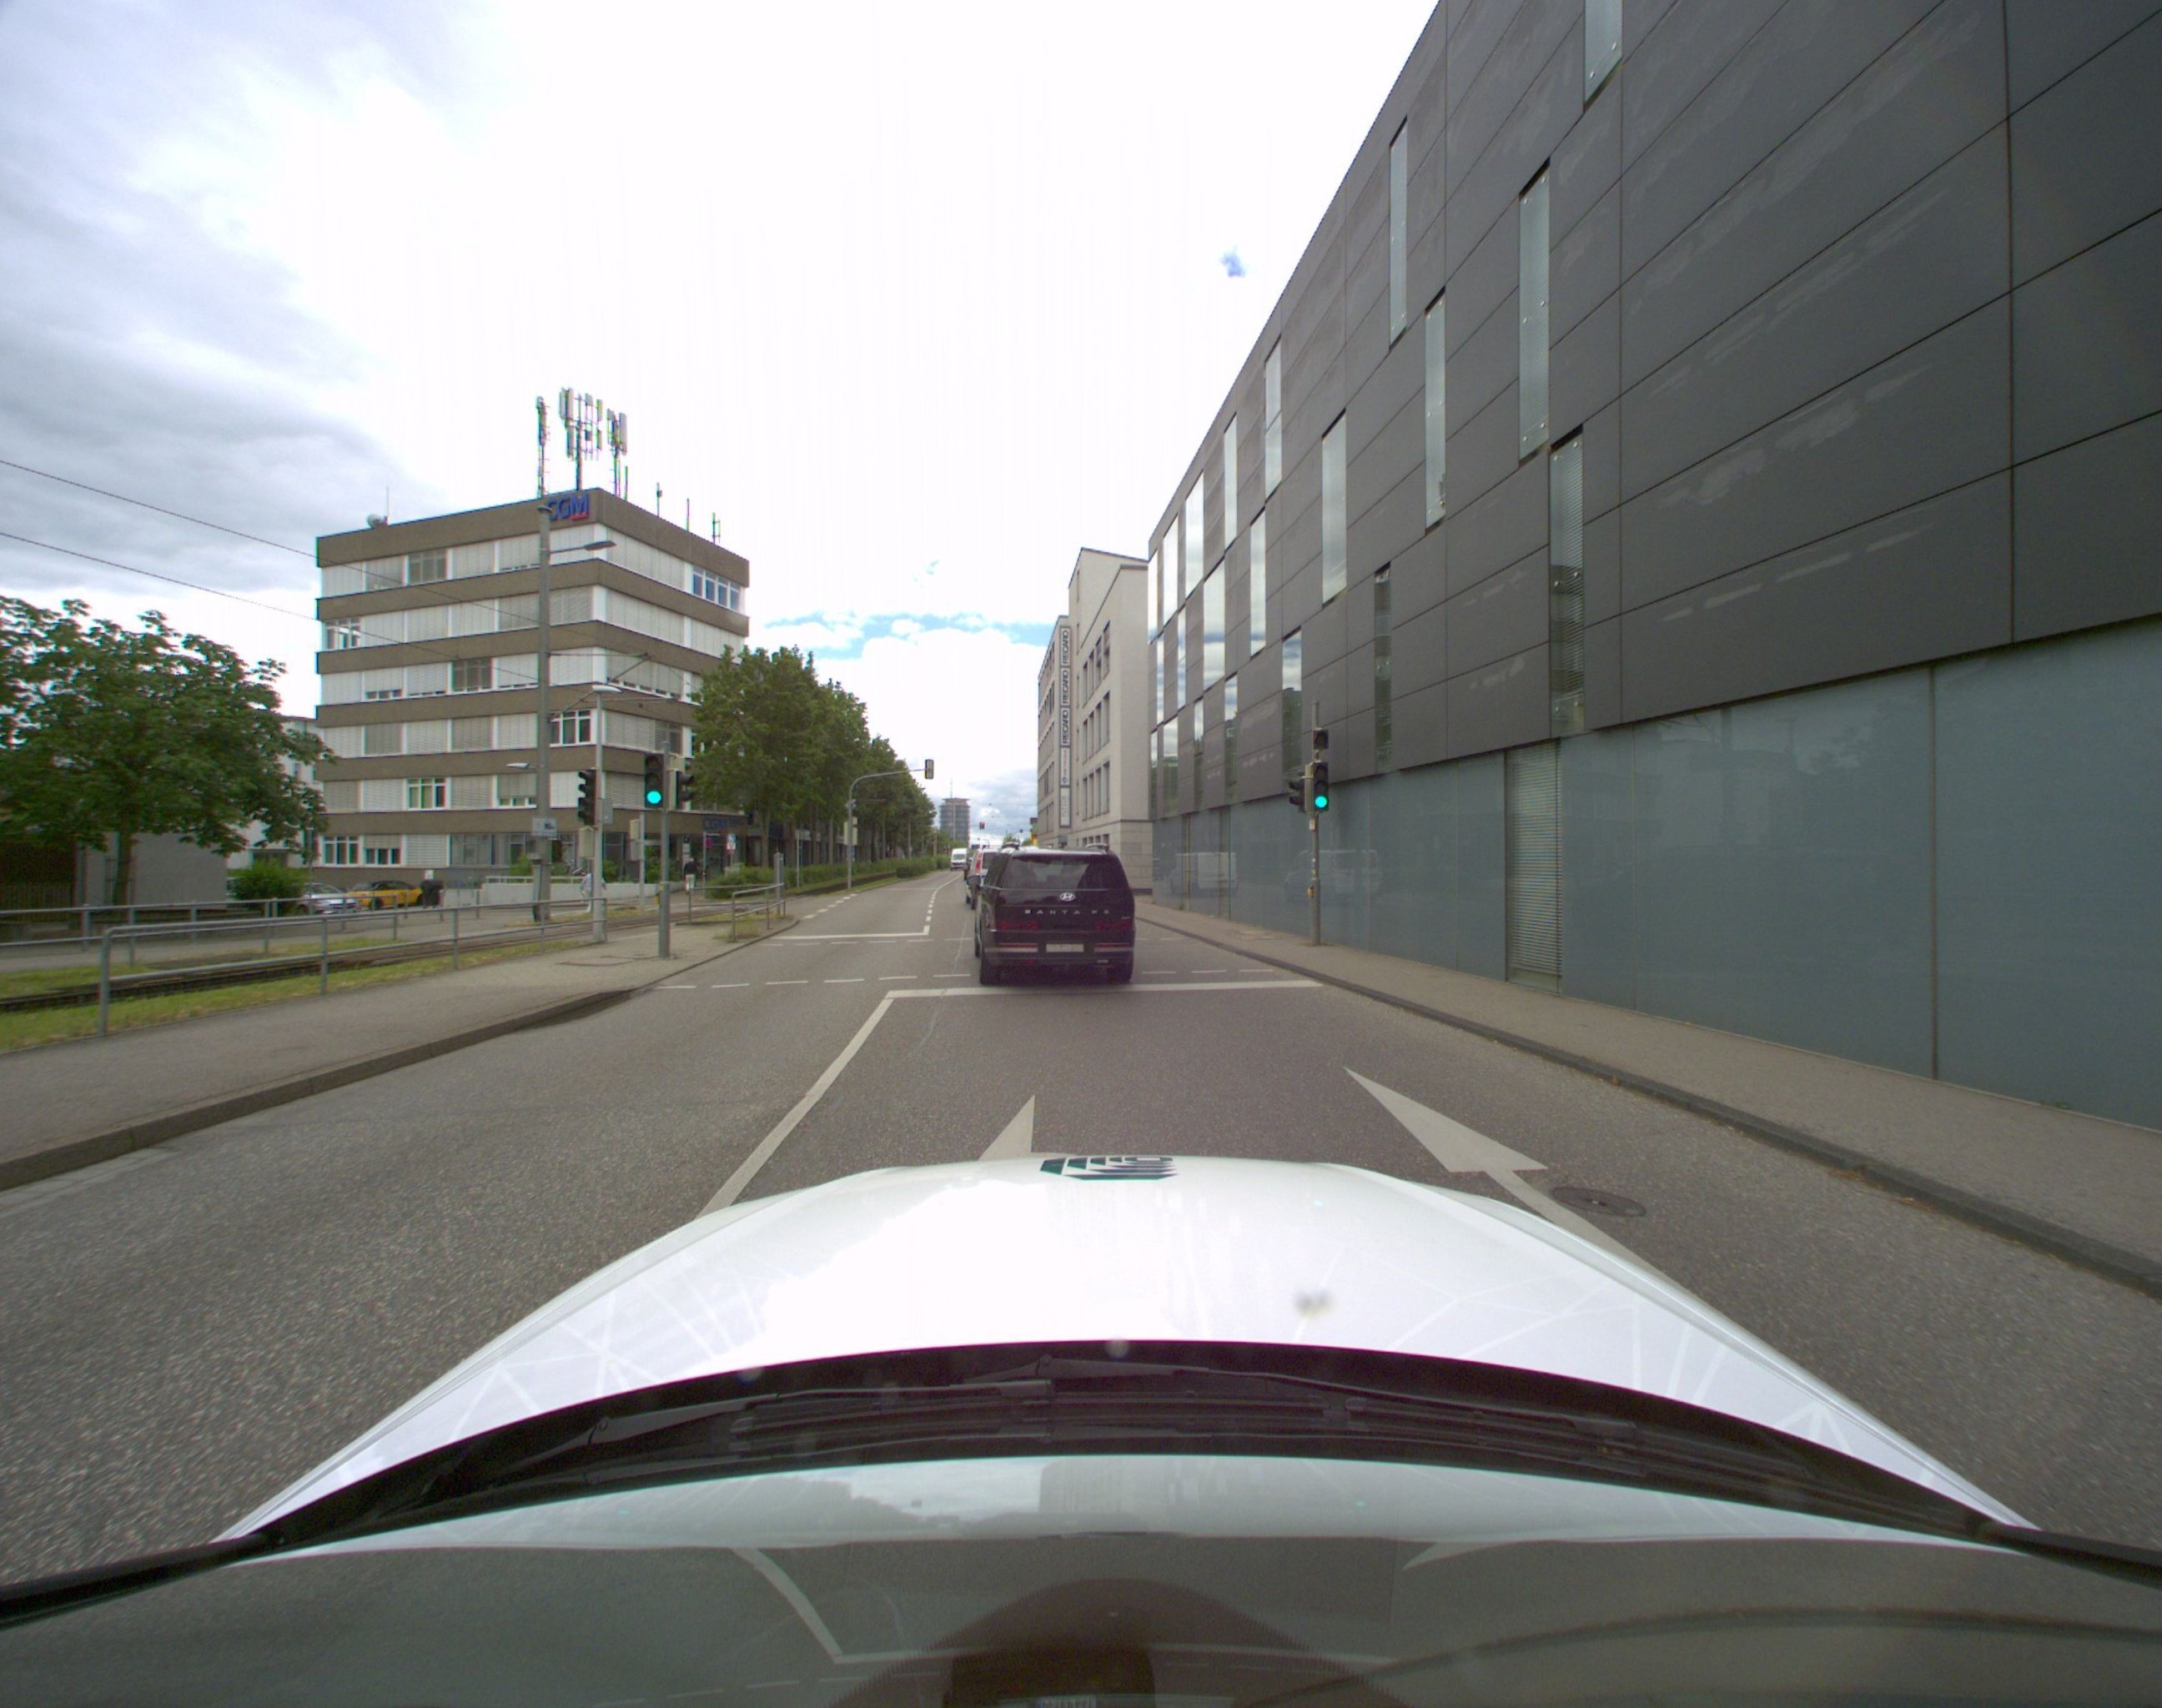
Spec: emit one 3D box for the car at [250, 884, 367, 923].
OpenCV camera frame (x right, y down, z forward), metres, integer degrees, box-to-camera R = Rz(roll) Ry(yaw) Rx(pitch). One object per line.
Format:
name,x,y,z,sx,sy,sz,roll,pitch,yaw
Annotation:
car,-30.248,1.937,31.885,3.954,1.359,1.650,-2,-1,19

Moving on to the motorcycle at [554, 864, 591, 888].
motorcycle,-26.808,1.157,42.909,1.864,1.199,0.571,-1,-1,18

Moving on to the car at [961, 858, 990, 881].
car,-7.703,1.088,59.751,1.755,1.609,4.183,0,0,-3

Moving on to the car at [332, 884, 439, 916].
car,-36.415,2.374,42.788,1.713,1.425,4.014,-2,-1,13

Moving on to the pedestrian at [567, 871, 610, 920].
pedestrian,-16.080,1.344,26.595,0.847,1.526,0.993,-1,-1,-9

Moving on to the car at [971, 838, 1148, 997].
car,-0.510,0.726,11.292,1.908,1.749,4.382,0,-1,-9

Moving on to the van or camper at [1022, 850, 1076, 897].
van or camper,-1.469,0.825,35.631,1.992,1.915,4.321,1,0,-7

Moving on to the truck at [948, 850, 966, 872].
truck,-15.621,0.862,102.551,2.164,2.616,5.780,0,0,-8

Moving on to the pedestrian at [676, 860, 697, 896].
pedestrian,-18.698,1.126,38.600,0.686,1.705,0.681,-1,-1,-5

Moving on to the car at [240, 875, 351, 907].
car,-43.520,1.999,45.236,1.836,1.574,4.014,-2,-1,13

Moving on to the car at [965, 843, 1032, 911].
car,-2.744,0.698,26.246,1.931,1.994,4.520,0,0,-9
